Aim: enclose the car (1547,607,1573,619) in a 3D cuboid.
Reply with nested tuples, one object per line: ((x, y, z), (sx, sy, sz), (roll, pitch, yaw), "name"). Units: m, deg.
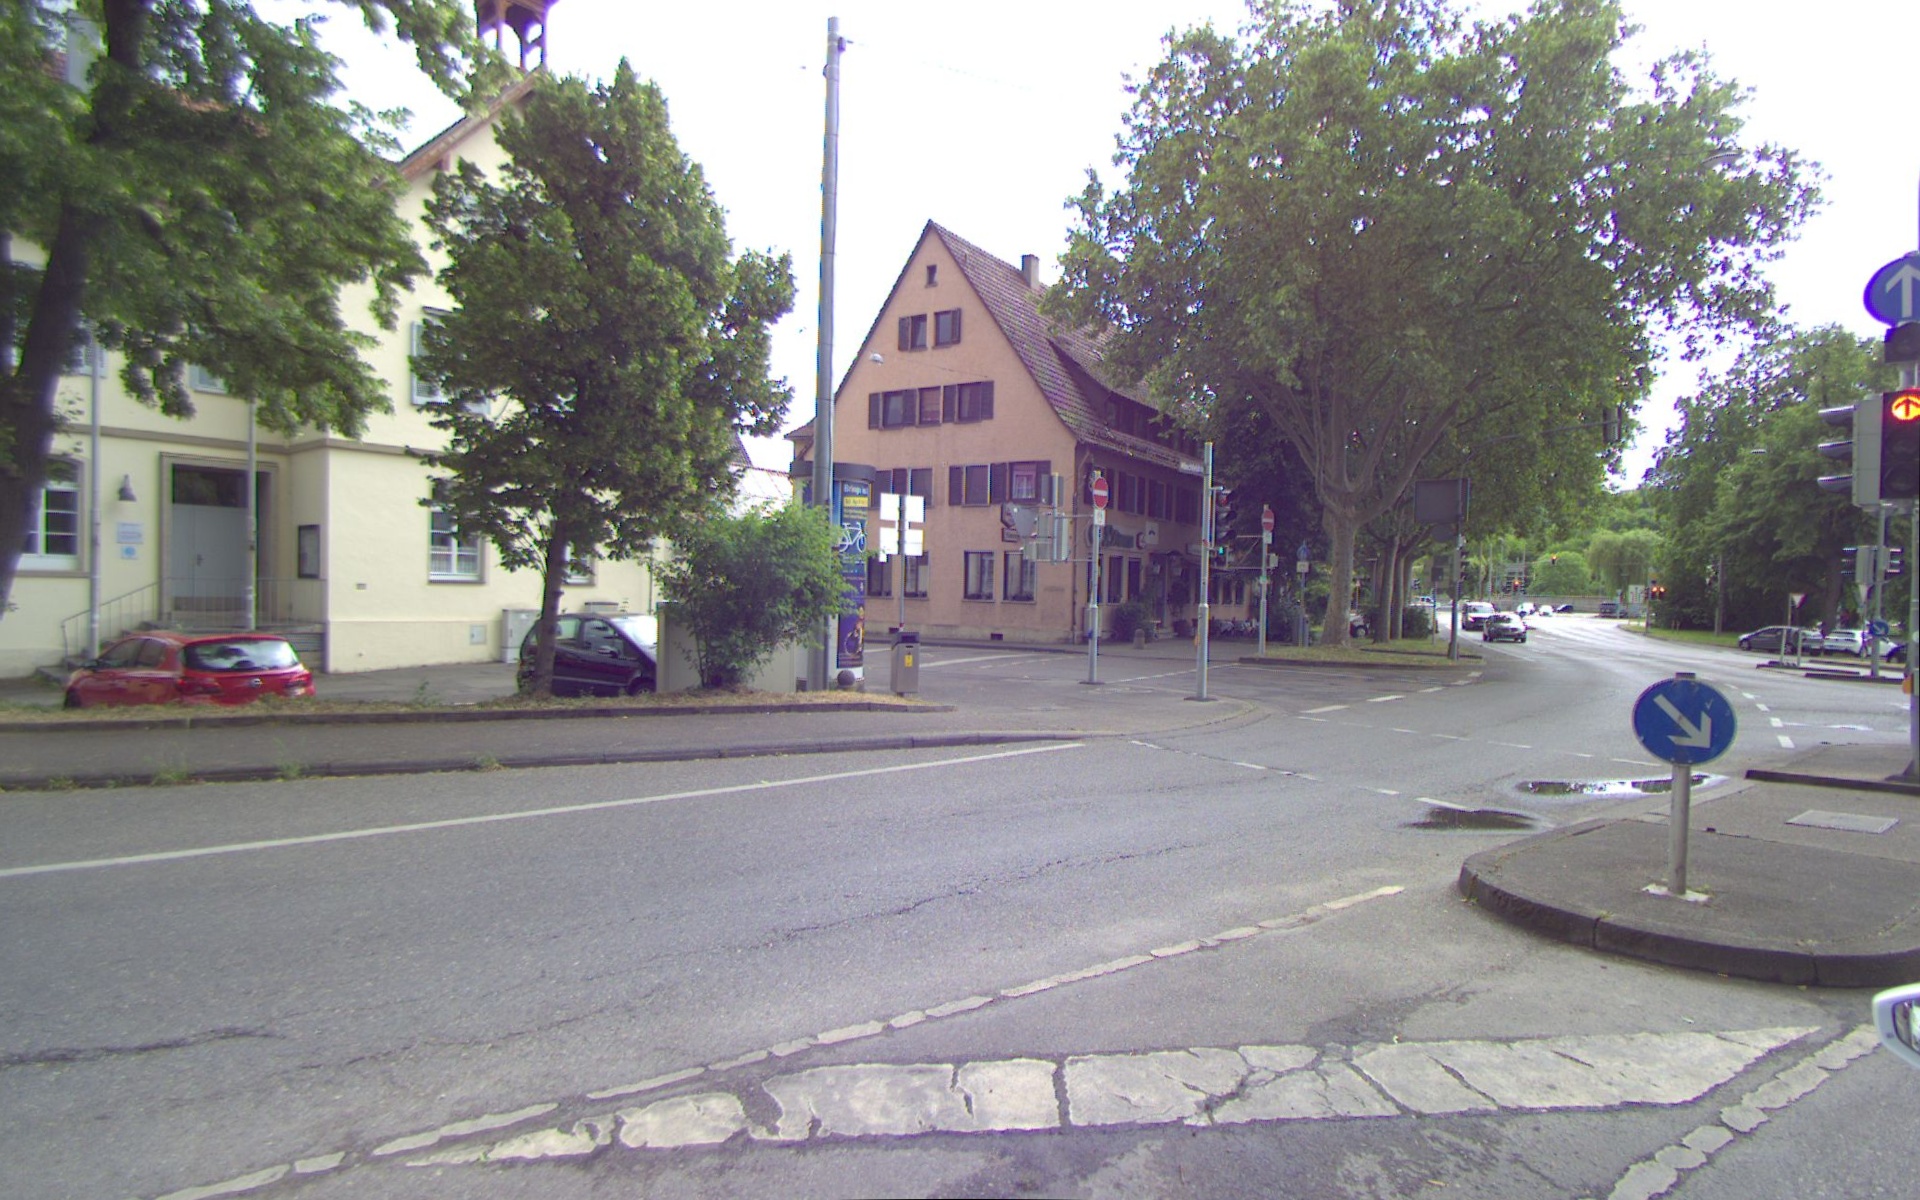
((108.224, 2.286, 181.089), (3.928, 2.040, 1.996), (2, 0, 30), "car")

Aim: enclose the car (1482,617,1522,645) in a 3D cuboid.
((29.066, 1.650, 53.947), (1.404, 1.435, 2.872), (1, -1, 19), "car")

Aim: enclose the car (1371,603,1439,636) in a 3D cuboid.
((25.463, 1.084, 57.466), (3.387, 1.765, 1.570), (2, 0, 28), "car")

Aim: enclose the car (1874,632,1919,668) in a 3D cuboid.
((39.563, 2.074, 40.943), (1.442, 1.412, 3.596), (2, 0, 3), "car")

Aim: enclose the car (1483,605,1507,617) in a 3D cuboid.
((100.709, 2.098, 188.934), (3.928, 2.040, 1.996), (2, 0, 30), "car")

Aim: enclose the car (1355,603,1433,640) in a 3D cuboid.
((21.403, 1.047, 49.582), (3.387, 1.663, 1.570), (2, 0, 28), "car")

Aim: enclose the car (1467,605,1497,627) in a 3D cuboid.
((35.705, 1.094, 68.730), (1.404, 1.435, 2.872), (1, -1, 19), "car")

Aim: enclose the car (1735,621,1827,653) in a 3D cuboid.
((43.857, 1.962, 53.759), (1.559, 1.484, 3.543), (2, 0, -17), "car")

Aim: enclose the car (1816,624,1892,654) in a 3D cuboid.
((47.296, 2.075, 53.160), (3.342, 1.484, 1.543), (2, 0, -19), "car")

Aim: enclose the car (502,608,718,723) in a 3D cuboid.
((-5.770, 1.015, 16.593), (3.035, 1.654, 1.607), (2, 0, 22), "car")
